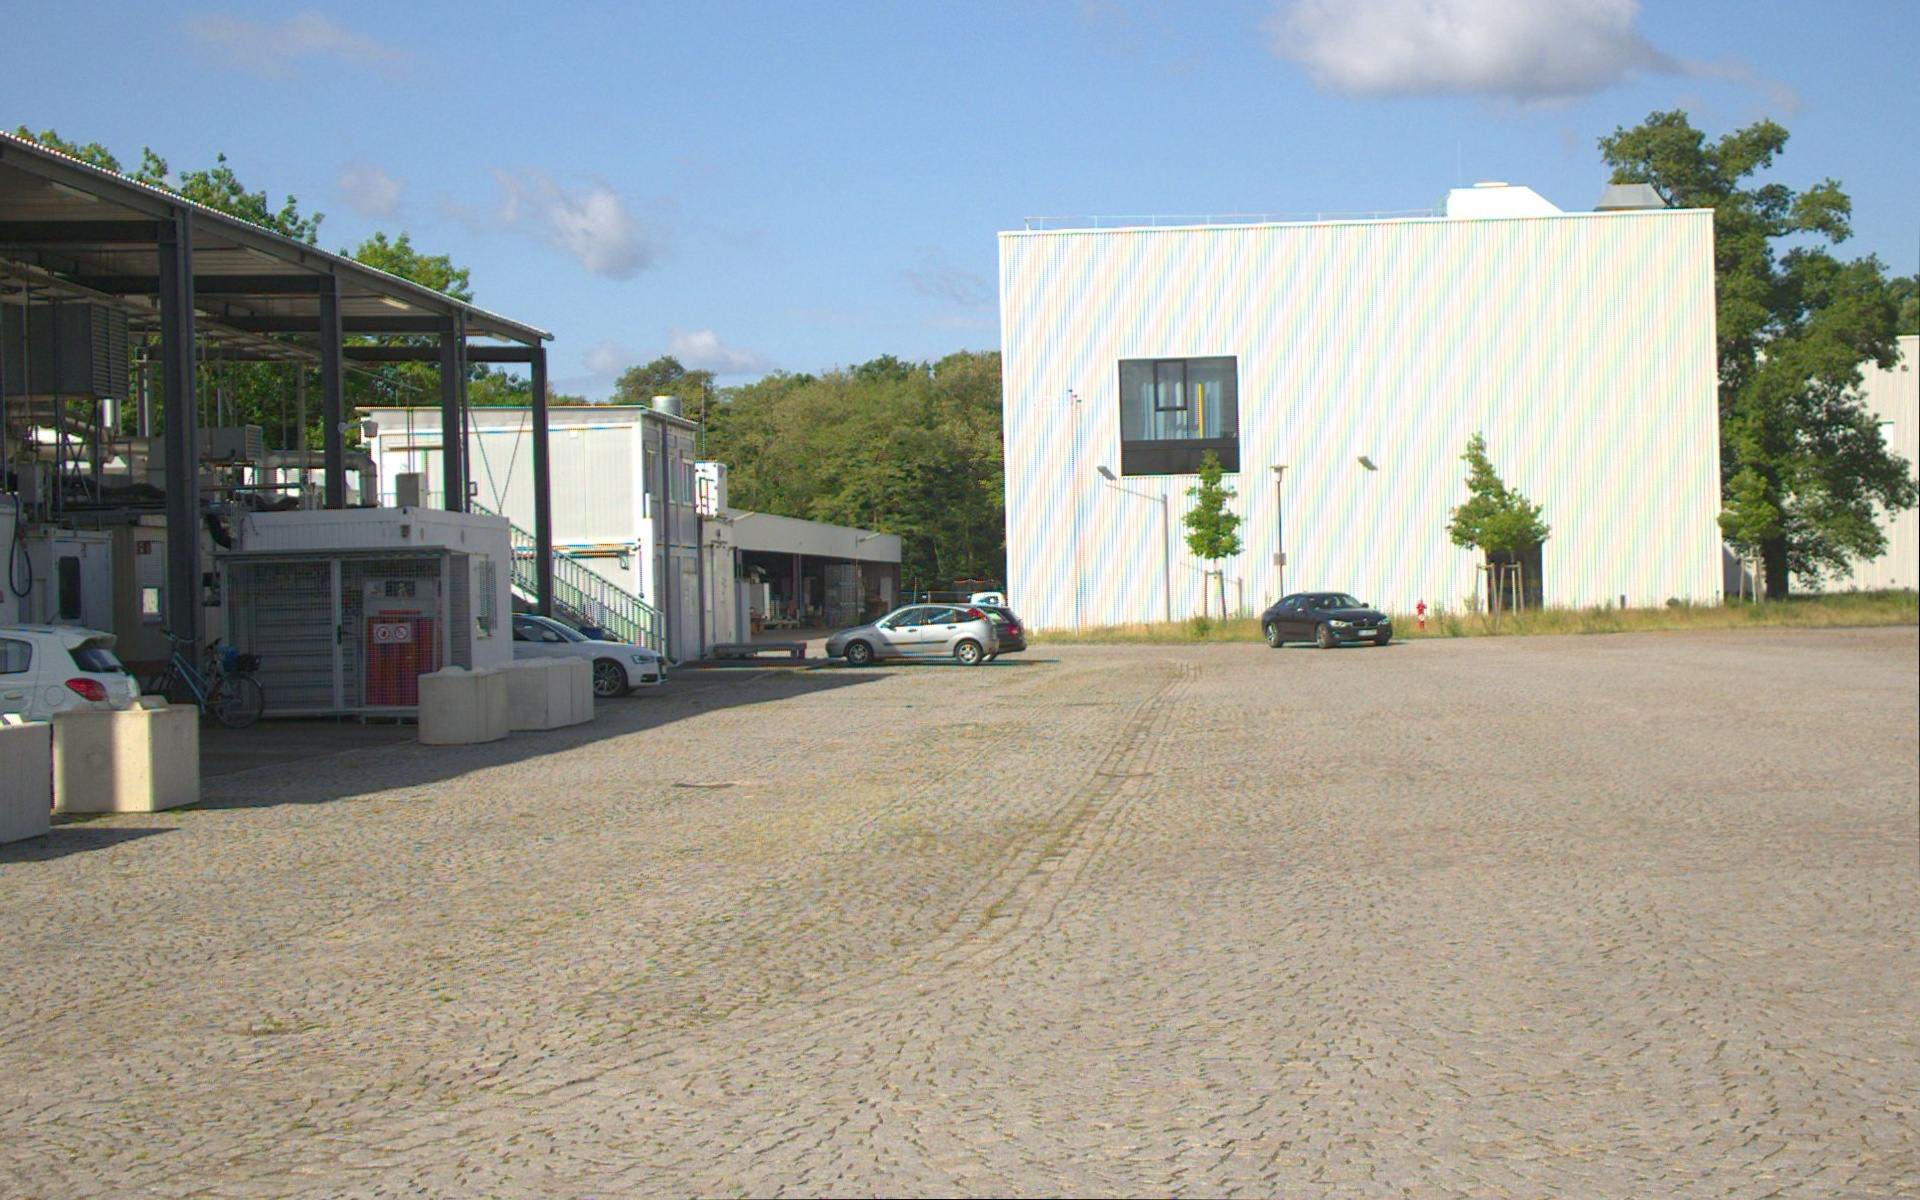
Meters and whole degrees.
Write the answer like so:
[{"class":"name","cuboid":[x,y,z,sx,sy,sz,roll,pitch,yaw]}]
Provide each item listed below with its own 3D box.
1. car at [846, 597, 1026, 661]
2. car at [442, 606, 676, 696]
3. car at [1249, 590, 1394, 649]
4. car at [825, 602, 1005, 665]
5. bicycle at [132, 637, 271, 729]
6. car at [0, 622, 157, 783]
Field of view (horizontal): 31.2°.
[{"class":"car","cuboid":[-0.568,0.710,85.597,4.345,1.465,1.740,-1,0,4]},{"class":"car","cuboid":[-6.761,0.856,58.188,3.686,1.404,1.675,-1,0,2]},{"class":"car","cuboid":[9.085,0.498,86.735,1.735,1.424,4.076,-1,0,-26]},{"class":"car","cuboid":[-1.052,0.799,82.389,4.175,1.399,1.740,-1,0,4]},{"class":"bicycle","cuboid":[-9.767,1.067,44.286,1.666,1.133,0.485,-1,0,4]},{"class":"car","cuboid":[-9.116,0.928,30.705,3.462,1.371,1.611,-1,0,2]}]
